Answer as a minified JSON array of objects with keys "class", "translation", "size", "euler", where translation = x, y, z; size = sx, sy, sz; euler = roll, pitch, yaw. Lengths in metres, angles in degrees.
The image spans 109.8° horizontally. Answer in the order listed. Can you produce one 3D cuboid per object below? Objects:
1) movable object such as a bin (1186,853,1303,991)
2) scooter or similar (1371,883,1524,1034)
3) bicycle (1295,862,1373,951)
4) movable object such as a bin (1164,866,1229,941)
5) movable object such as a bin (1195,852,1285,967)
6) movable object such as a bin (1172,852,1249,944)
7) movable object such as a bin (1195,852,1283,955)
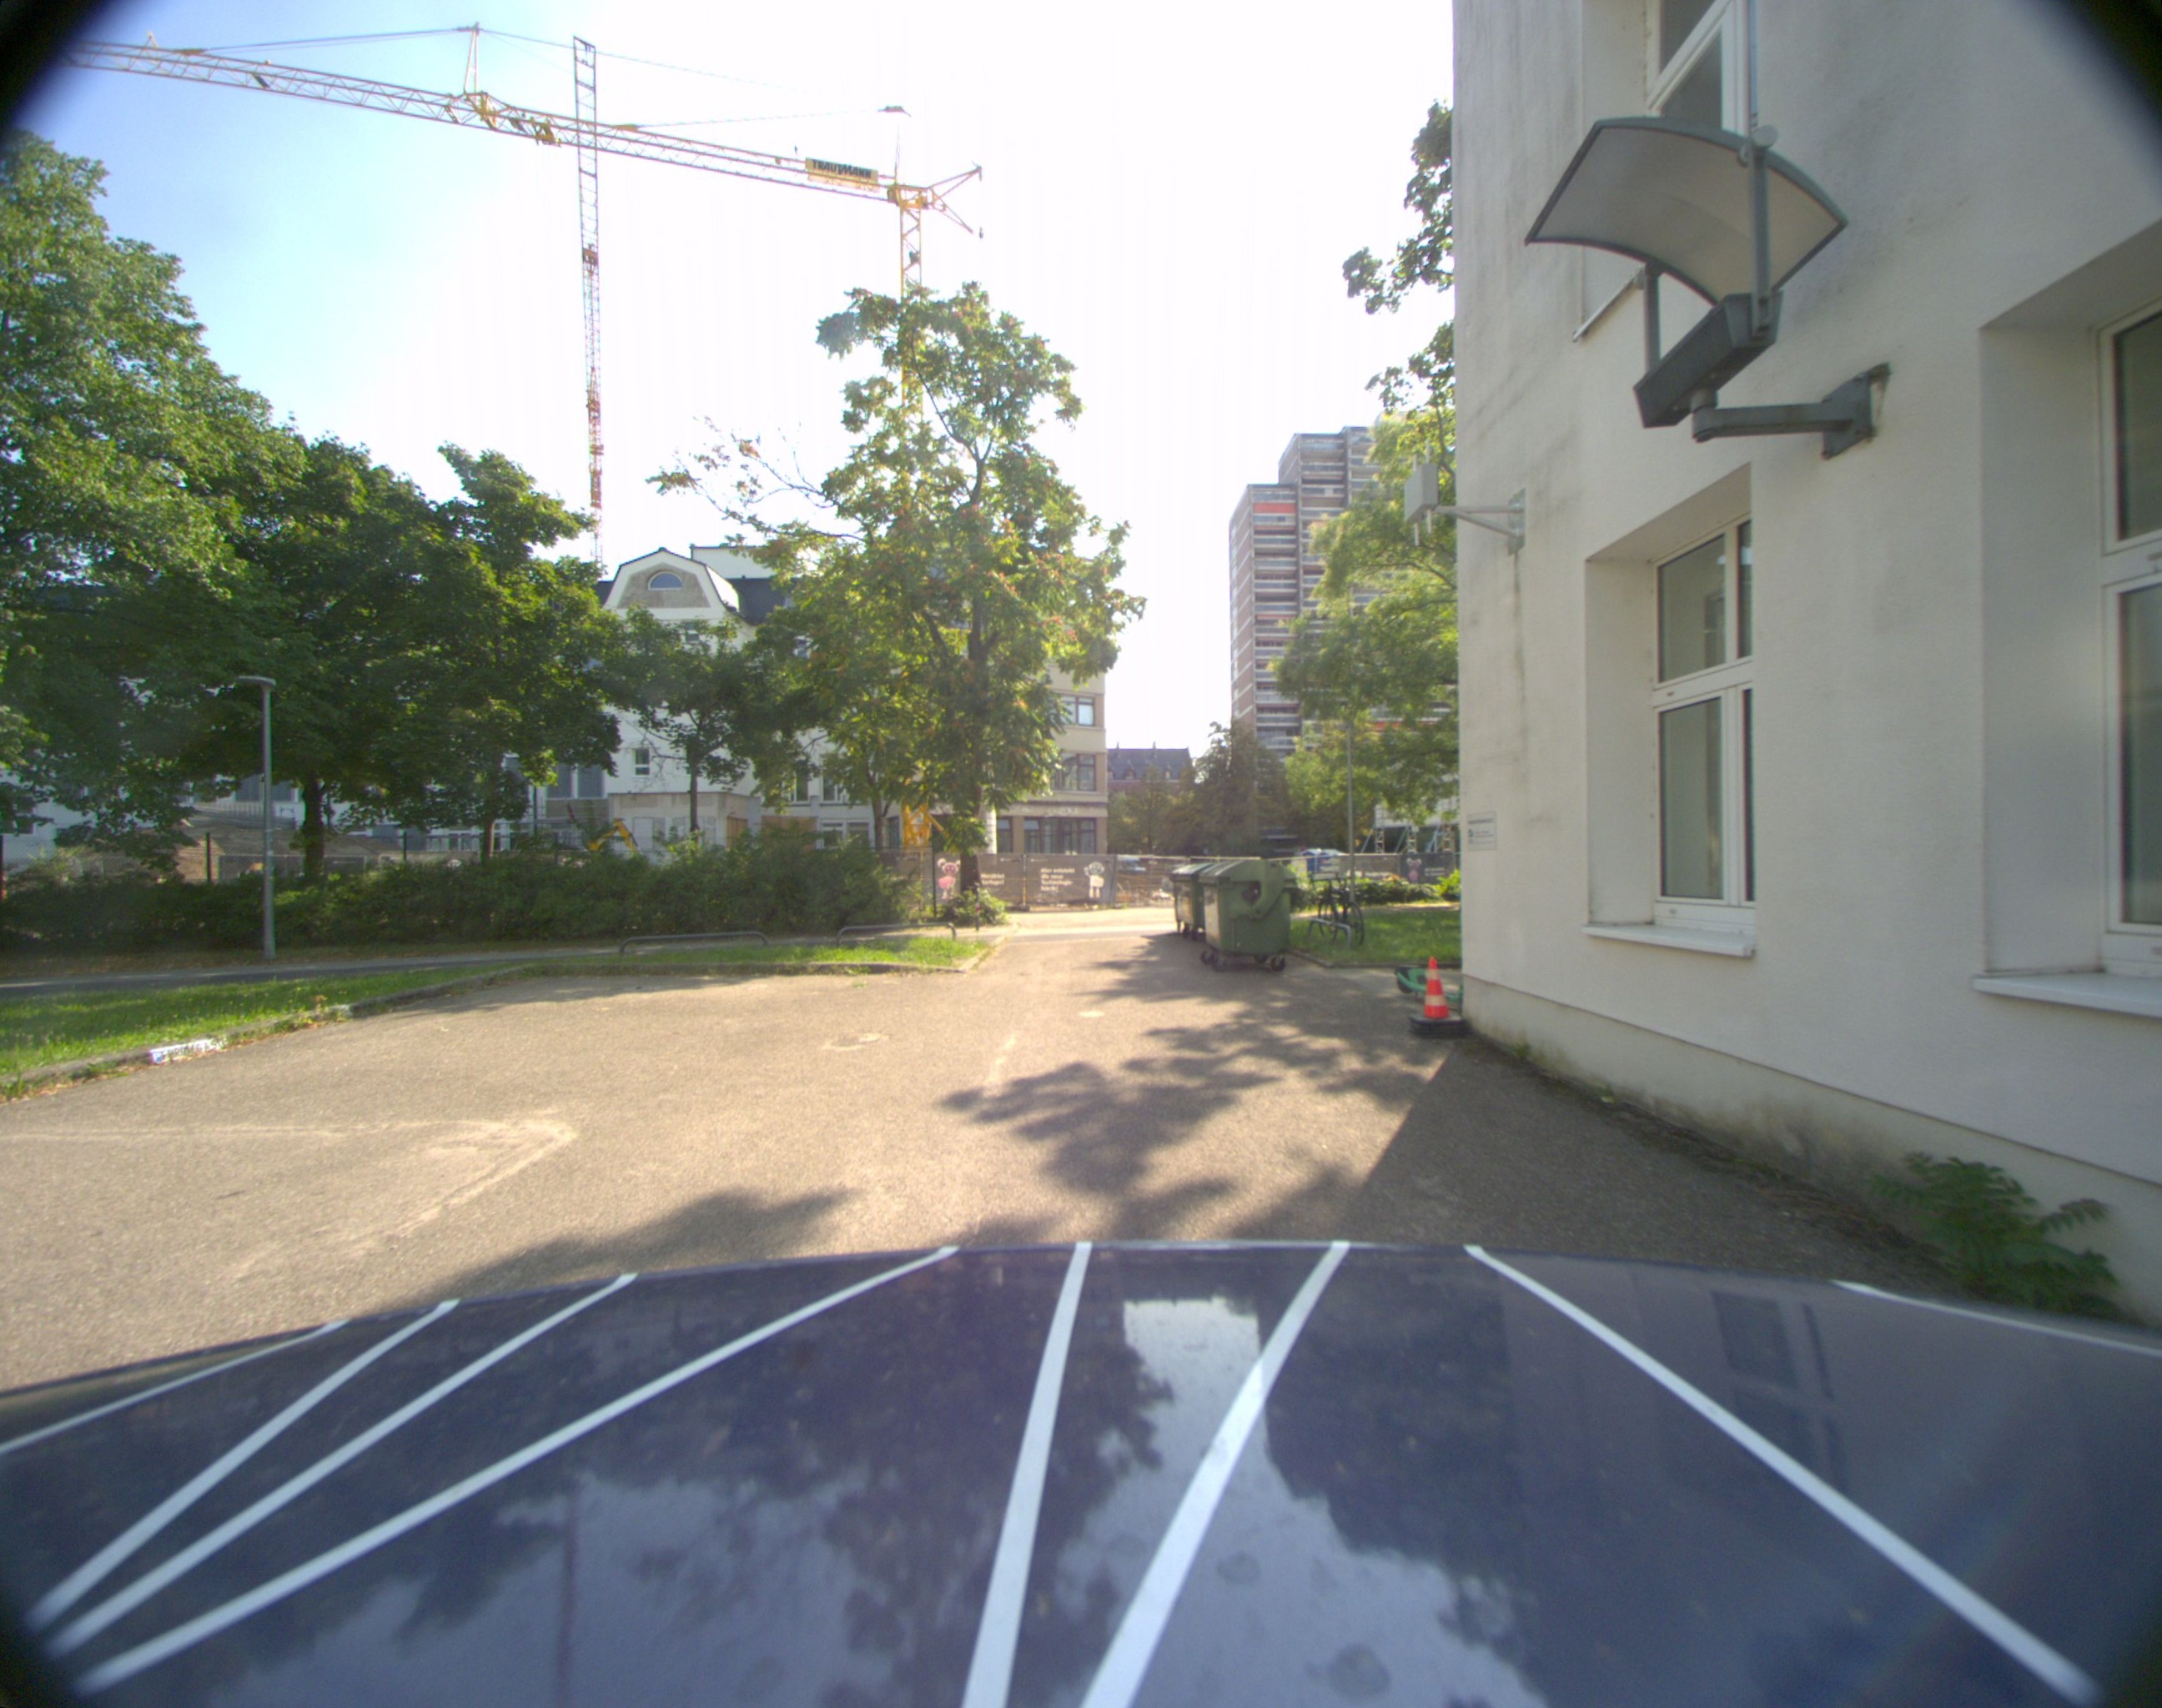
[{"class":"movable object such as a bin","translation":[2.128,0.837,10.108],"size":[1.184,1.696,1.376],"euler":[-1,1,-4]},{"class":"scooter or similar","translation":[3.492,0.937,7.364],"size":[0.386,1.255,1.493],"euler":[-1,1,-20]},{"class":"bicycle","translation":[3.821,0.742,11.627],"size":[0.477,1.206,2.008],"euler":[-1,0,-1]},{"class":"movable object such as a bin","translation":[2.424,1.022,16.115],"size":[1.037,1.489,1.106],"euler":[-1,1,-11]},{"class":"movable object such as a bin","translation":[2.451,0.825,11.908],"size":[1.183,1.696,1.395],"euler":[-1,1,4]},{"class":"movable object such as a bin","translation":[2.474,0.810,14.714],"size":[1.184,1.696,1.376],"euler":[-1,1,-4]},{"class":"movable object such as a bin","translation":[2.737,0.815,13.316],"size":[1.184,1.696,1.376],"euler":[-1,1,-4]}]
